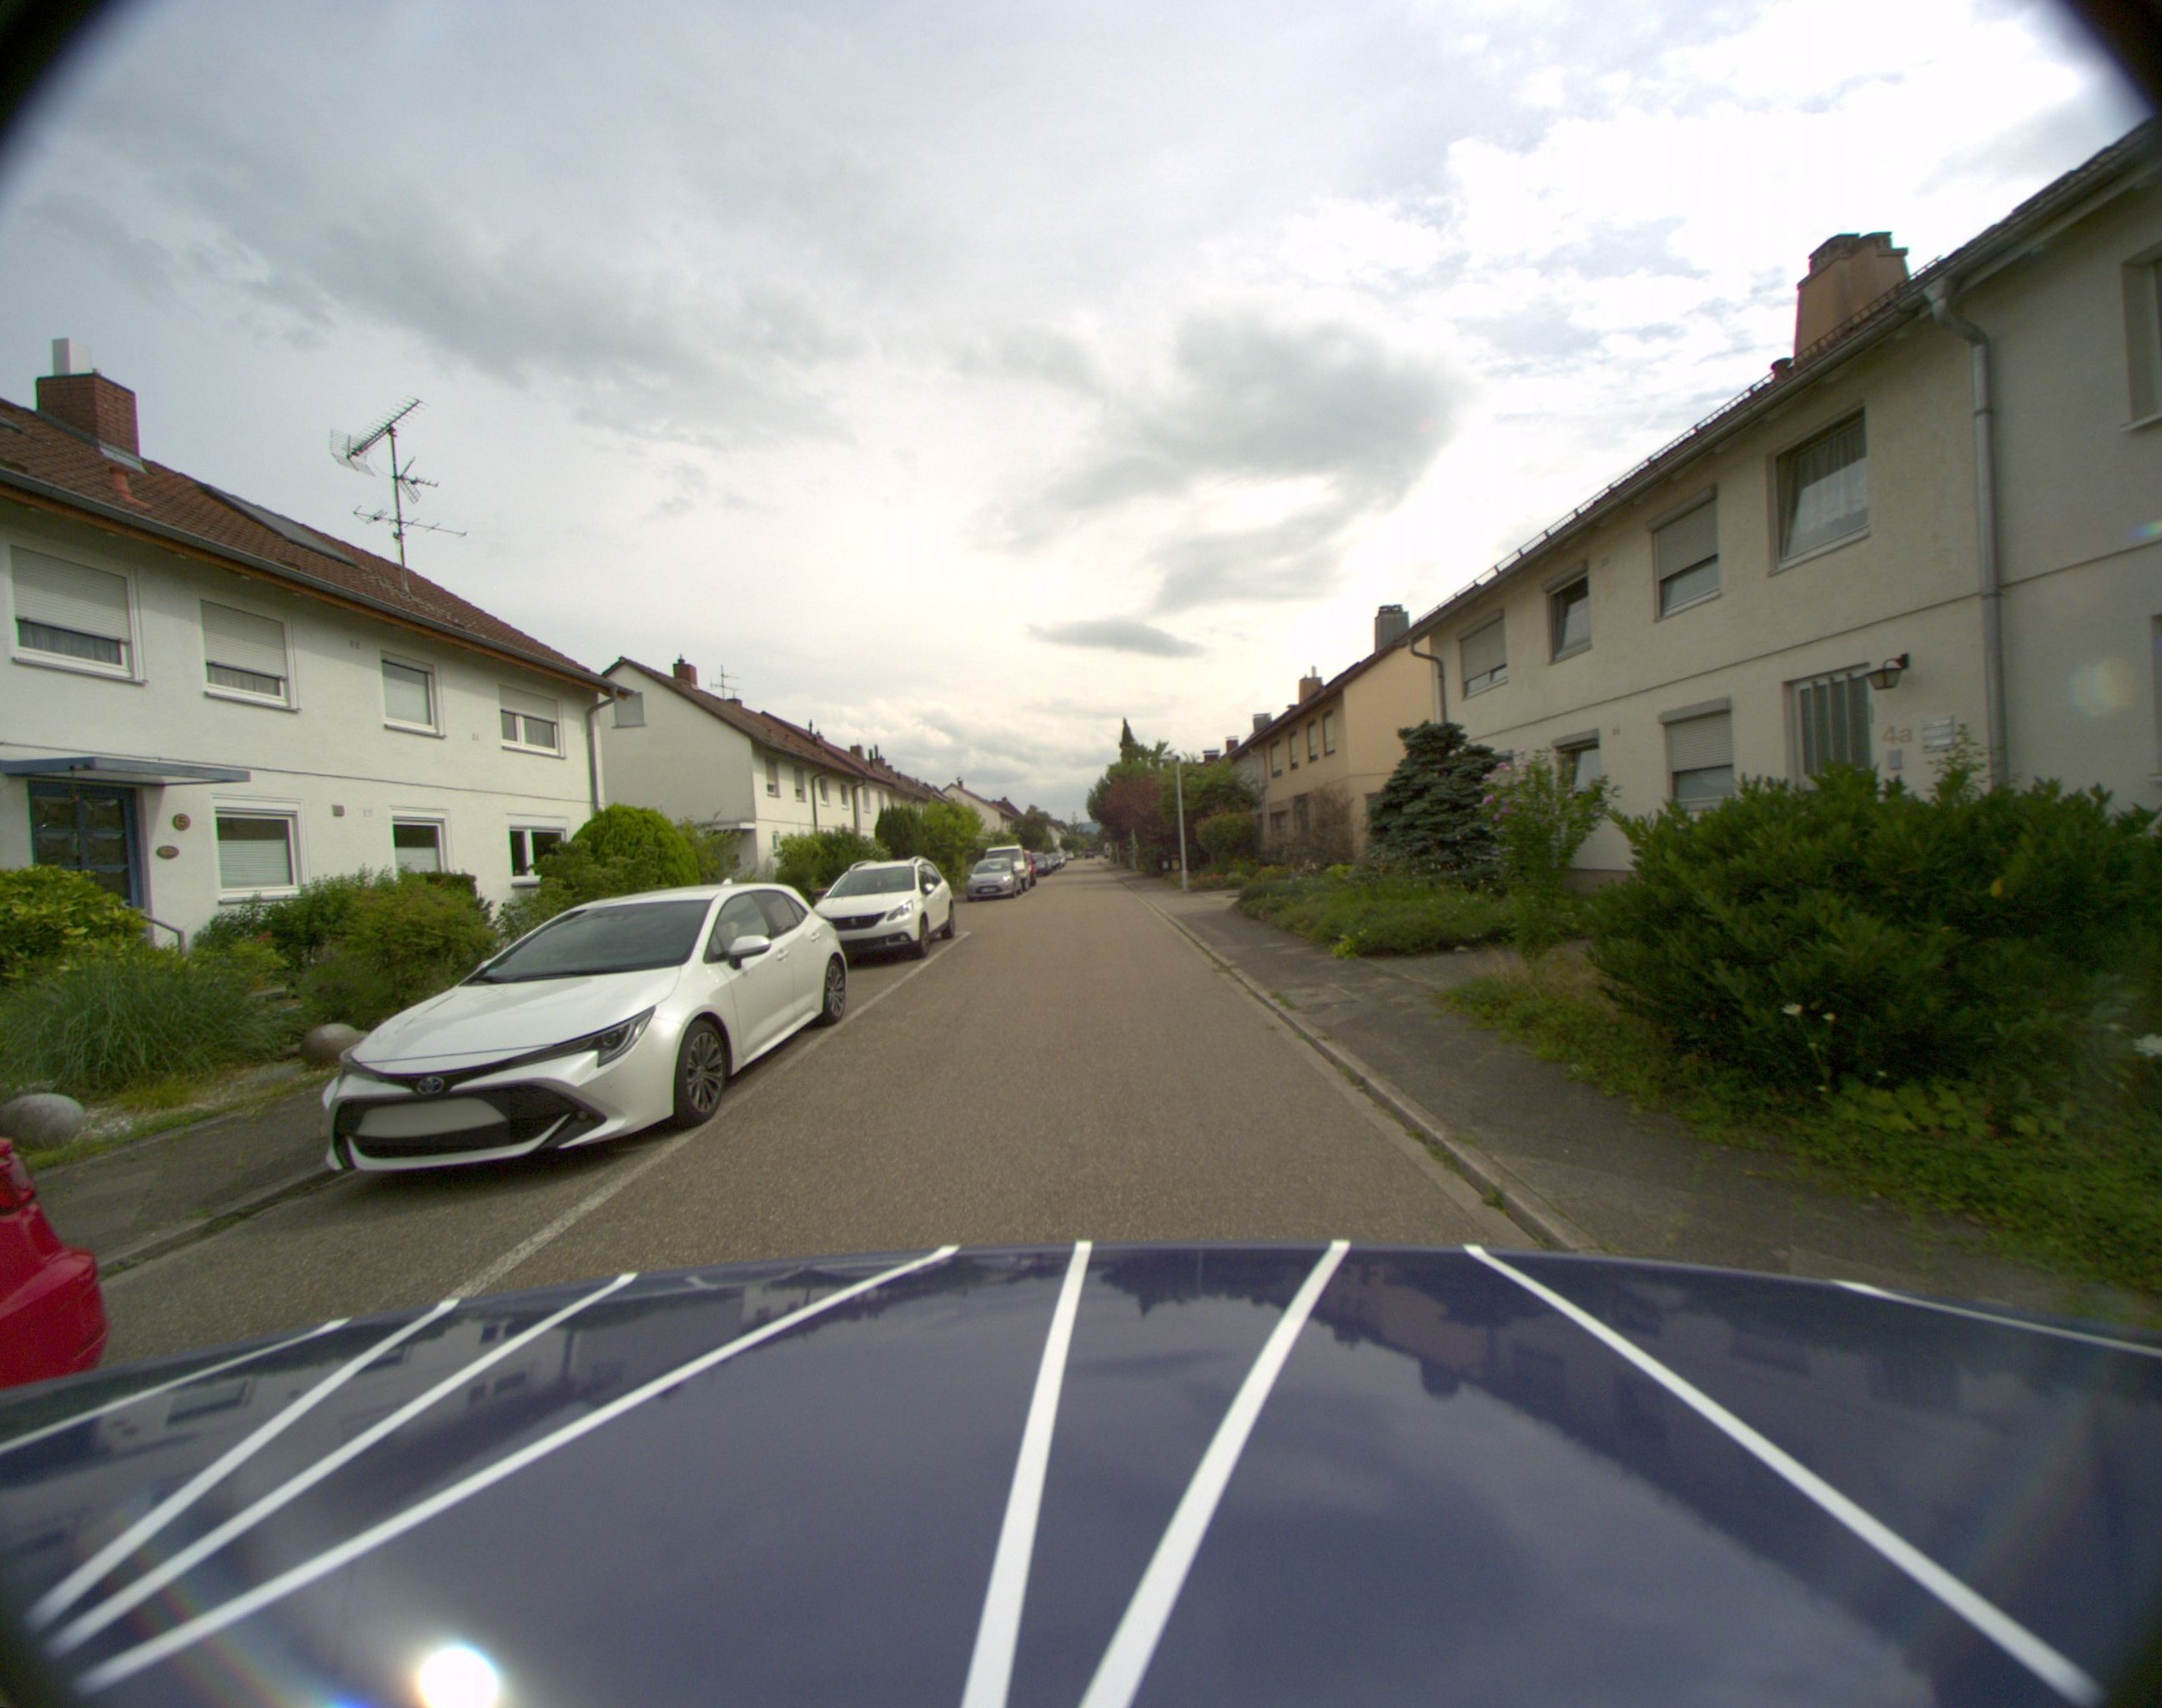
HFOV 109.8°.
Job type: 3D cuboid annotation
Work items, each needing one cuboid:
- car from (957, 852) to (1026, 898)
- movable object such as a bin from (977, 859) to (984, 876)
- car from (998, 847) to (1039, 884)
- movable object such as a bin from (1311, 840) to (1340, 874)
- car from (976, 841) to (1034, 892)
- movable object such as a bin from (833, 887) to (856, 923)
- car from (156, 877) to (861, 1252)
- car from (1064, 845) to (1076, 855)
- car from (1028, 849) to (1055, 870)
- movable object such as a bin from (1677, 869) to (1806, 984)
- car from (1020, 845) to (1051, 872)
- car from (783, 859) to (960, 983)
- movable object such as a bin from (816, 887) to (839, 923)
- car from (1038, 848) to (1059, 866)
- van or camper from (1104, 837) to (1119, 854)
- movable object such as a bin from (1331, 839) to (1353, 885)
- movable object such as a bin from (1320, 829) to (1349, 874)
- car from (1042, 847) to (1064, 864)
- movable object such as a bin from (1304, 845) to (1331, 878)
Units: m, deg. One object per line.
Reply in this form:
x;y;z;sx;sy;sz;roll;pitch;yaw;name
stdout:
-3.178;0.704;27.821;1.905;1.451;4.129;-3;1;1;car
-6.495;0.855;48.942;0.405;1.027;0.790;-3;1;-8;movable object such as a bin
-3.065;0.521;37.921;1.815;1.641;4.409;-3;1;-3;car
7.447;0.080;23.178;0.654;1.015;0.632;-2;1;0;movable object such as a bin
-3.196;0.476;32.921;2.026;1.936;4.746;-3;1;-1;car
-6.459;1.384;20.772;0.432;0.916;0.465;-5;1;-4;movable object such as a bin
-3.216;1.011;5.725;1.843;1.405;4.635;-3;1;-2;car
-2.068;-0.723;137.170;1.999;1.590;3.998;-3;1;-2;car
-2.984;0.369;58.531;1.872;1.399;4.766;-5;1;-2;car
6.210;0.660;7.175;0.677;1.002;0.598;-2;1;1;movable object such as a bin
-3.069;0.281;52.089;1.872;1.644;4.463;-3;1;-1;car
-3.275;0.963;12.711;1.718;1.535;3.973;-5;1;0;car
-6.920;1.396;20.747;0.432;0.916;0.465;-5;1;-4;movable object such as a bin
-2.826;0.235;66.394;1.737;1.420;4.124;-3;1;-2;car
5.058;-1.425;127.463;2.346;2.719;5.747;-3;1;1;van or camper
7.992;0.237;23.281;0.411;1.377;0.610;-2;1;0;movable object such as a bin
7.987;-0.075;23.954;0.654;1.377;0.632;-2;1;0;movable object such as a bin
-2.605;0.148;72.048;1.753;1.458;4.647;-3;1;0;car
7.396;0.228;23.775;0.654;0.997;0.542;-2;1;0;movable object such as a bin
